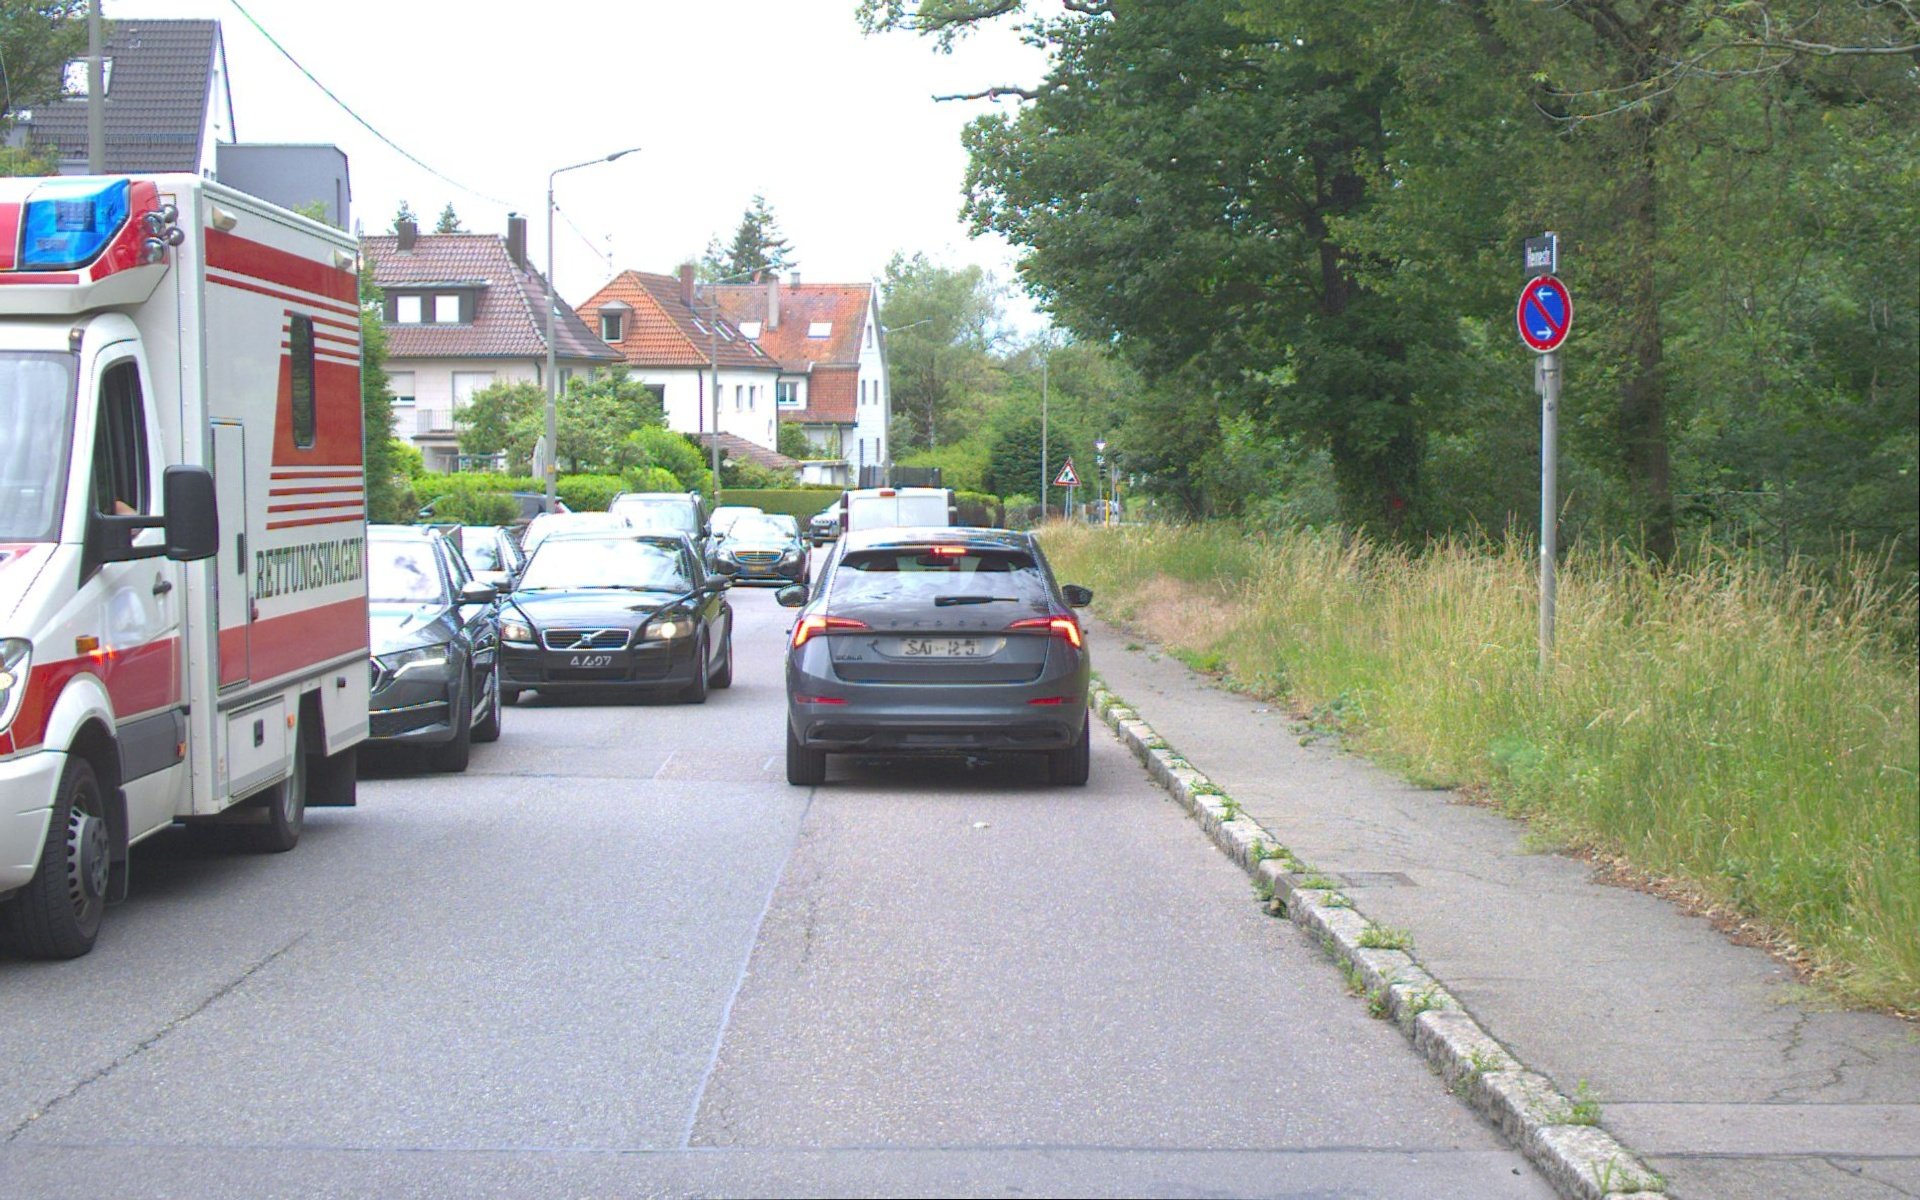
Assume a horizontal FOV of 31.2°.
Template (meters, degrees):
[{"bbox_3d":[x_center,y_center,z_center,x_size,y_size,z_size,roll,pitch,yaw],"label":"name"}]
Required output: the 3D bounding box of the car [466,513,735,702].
[{"bbox_3d":[-2.954,0.004,29.092,1.763,1.441,4.474,0,2,0],"label":"car"}]

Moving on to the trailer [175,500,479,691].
[{"bbox_3d":[-5.335,-0.102,29.511,1.763,1.491,4.474,-1,2,0],"label":"trailer"}]

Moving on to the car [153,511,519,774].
[{"bbox_3d":[-3.799,0.180,21.621,1.763,1.441,4.474,-1,2,-4],"label":"car"}]

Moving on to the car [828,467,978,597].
[{"bbox_3d":[-0.945,-1.094,53.906,2.071,1.915,4.923,1,2,-4],"label":"car"}]

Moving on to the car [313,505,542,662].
[{"bbox_3d":[-5.569,-0.224,36.420,1.763,1.494,4.474,-2,2,-1],"label":"car"}]

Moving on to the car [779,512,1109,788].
[{"bbox_3d":[-0.199,0.221,20.794,1.727,1.434,4.325,1,2,-4],"label":"car"}]

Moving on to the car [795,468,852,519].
[{"bbox_3d":[-4.542,-3.582,114.951,1.833,1.591,4.324,1,3,-1],"label":"car"}]

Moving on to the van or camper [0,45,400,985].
[{"bbox_3d":[-4.046,-0.354,14.127,2.456,2.885,7.169,-1,2,-1],"label":"van or camper"}]

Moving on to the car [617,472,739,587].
[{"bbox_3d":[-4.971,-1.274,61.149,1.863,1.919,5.039,1,2,-2],"label":"car"}]

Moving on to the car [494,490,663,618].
[{"bbox_3d":[-5.245,-0.674,47.725,1.838,1.643,4.186,-2,2,0],"label":"car"}]

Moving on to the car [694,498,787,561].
[{"bbox_3d":[-5.456,-1.769,85.864,1.784,1.495,4.014,1,2,4],"label":"car"}]

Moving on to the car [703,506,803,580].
[{"bbox_3d":[-4.193,-1.192,70.141,1.863,1.409,4.593,1,2,-2],"label":"car"}]
